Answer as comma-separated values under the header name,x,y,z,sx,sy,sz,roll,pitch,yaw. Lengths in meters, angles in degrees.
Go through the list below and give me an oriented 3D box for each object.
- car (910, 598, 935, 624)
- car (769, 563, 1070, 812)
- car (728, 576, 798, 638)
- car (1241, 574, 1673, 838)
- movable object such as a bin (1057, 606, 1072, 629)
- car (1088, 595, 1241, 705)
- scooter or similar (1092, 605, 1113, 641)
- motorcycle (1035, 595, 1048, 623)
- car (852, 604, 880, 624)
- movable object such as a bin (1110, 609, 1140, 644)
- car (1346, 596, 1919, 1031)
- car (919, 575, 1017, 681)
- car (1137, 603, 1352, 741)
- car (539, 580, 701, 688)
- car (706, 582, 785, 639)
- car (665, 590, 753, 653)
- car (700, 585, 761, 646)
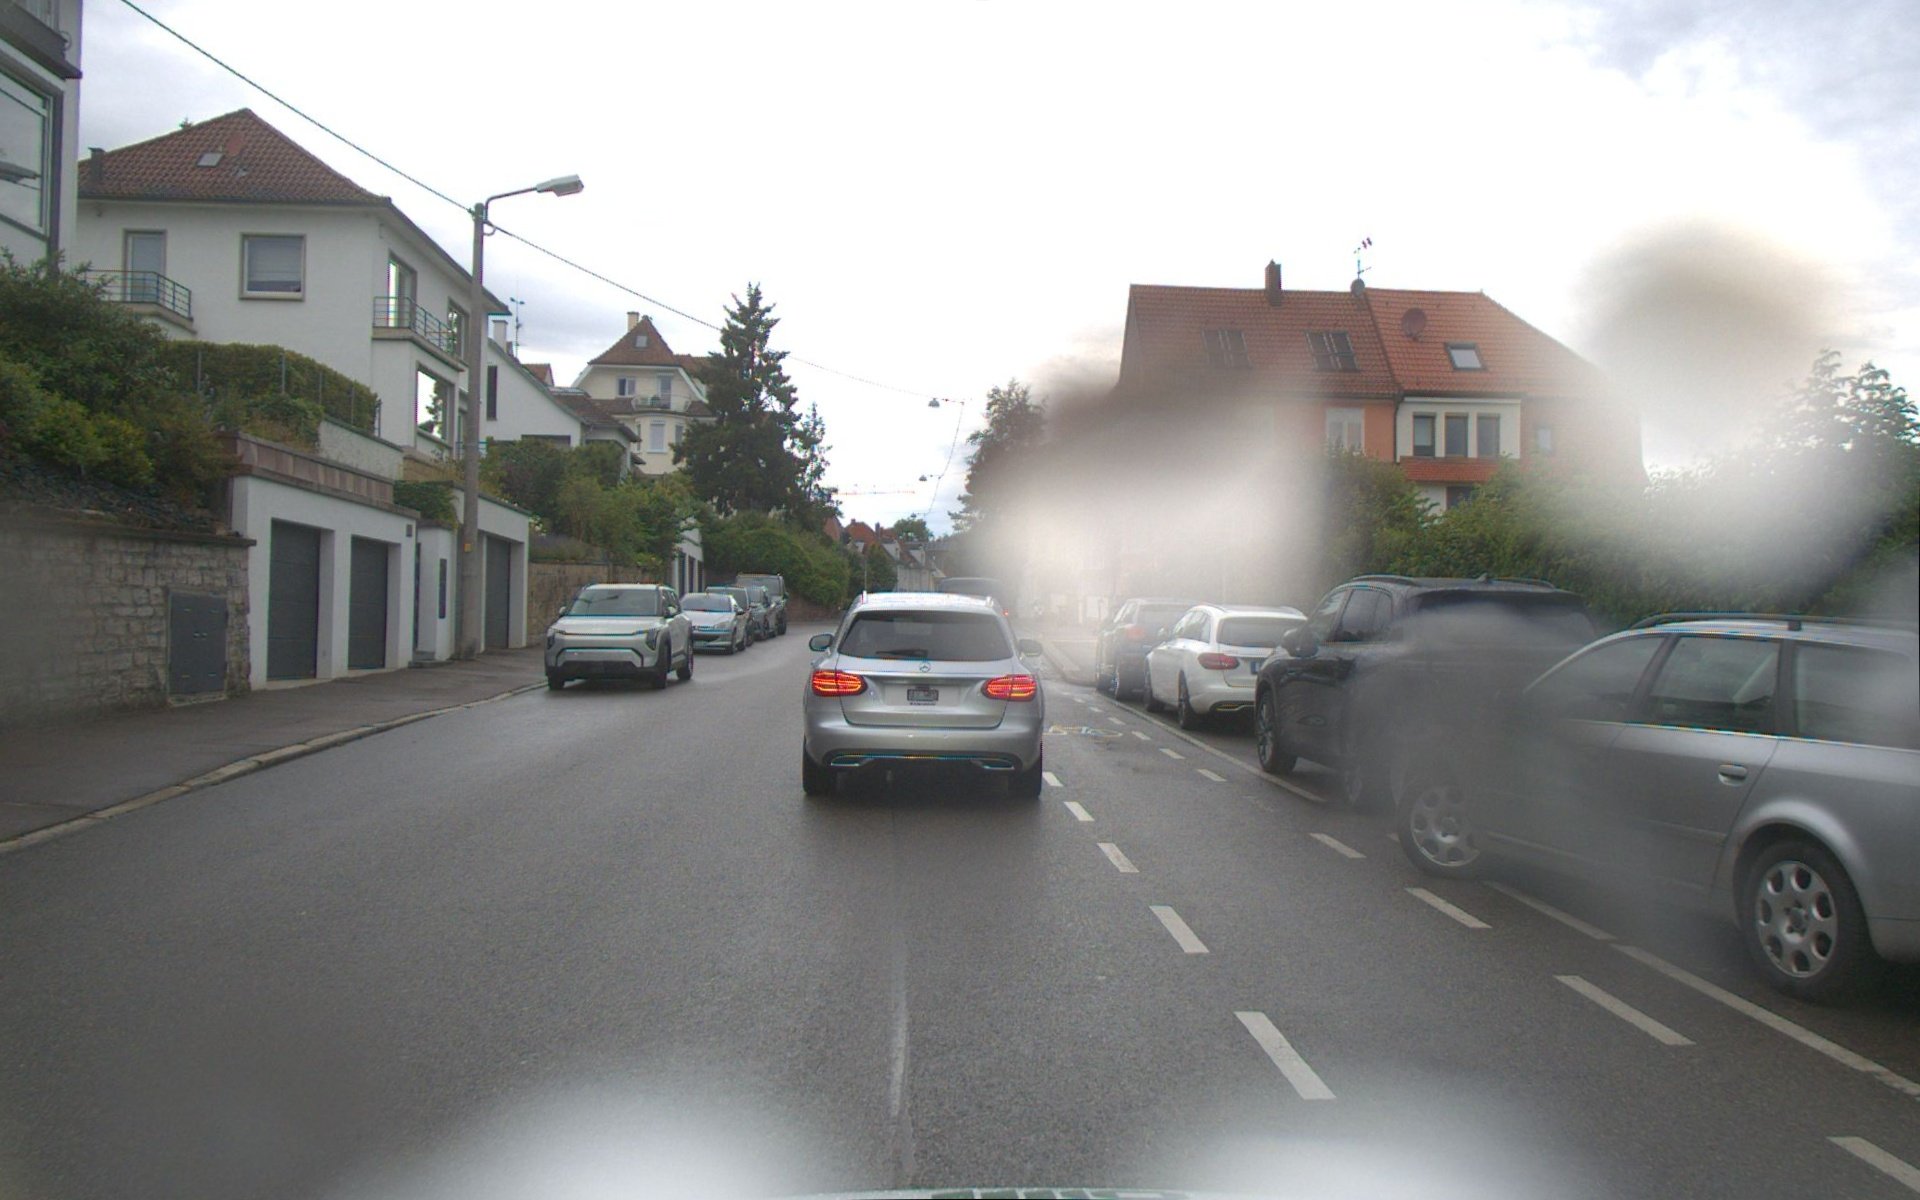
name,x,y,z,sx,sy,sz,roll,pitch,yaw
car,-3.751,1.084,166.092,2.417,2.442,3.999,-2,0,-2
car,-0.272,0.563,13.057,1.942,1.581,4.297,2,0,0
car,-6.481,0.200,54.897,2.088,1.892,5.588,2,0,-5
car,3.679,0.684,13.200,1.849,1.691,4.545,2,0,-3
movable object such as a bin,4.420,0.742,70.103,0.538,0.952,0.633,-2,0,-2
car,3.125,0.719,26.022,1.718,1.557,4.204,1,0,-2
scooter or similar,5.003,0.798,58.127,0.678,1.245,1.300,1,0,6
motorcycle,3.911,0.417,79.584,0.570,1.283,2.332,-1,0,1
car,-7.284,1.076,128.678,2.074,1.497,4.015,1,0,-3
movable object such as a bin,4.844,0.784,48.490,0.564,0.986,0.662,2,0,-34
car,3.744,0.757,7.775,1.769,1.465,4.623,1,1,-15
car,0.182,0.516,33.882,1.787,1.915,4.096,-3,1,1
car,3.376,0.796,20.476,1.679,1.430,4.606,1,1,-2
car,-5.377,0.487,26.685,1.860,1.595,4.237,0,0,-2
car,-6.287,0.283,48.887,1.860,1.541,4.341,2,0,-2
car,-5.937,0.480,39.420,1.577,1.361,3.840,1,1,-1
car,-6.116,0.382,44.386,1.468,1.550,3.155,1,1,-6
